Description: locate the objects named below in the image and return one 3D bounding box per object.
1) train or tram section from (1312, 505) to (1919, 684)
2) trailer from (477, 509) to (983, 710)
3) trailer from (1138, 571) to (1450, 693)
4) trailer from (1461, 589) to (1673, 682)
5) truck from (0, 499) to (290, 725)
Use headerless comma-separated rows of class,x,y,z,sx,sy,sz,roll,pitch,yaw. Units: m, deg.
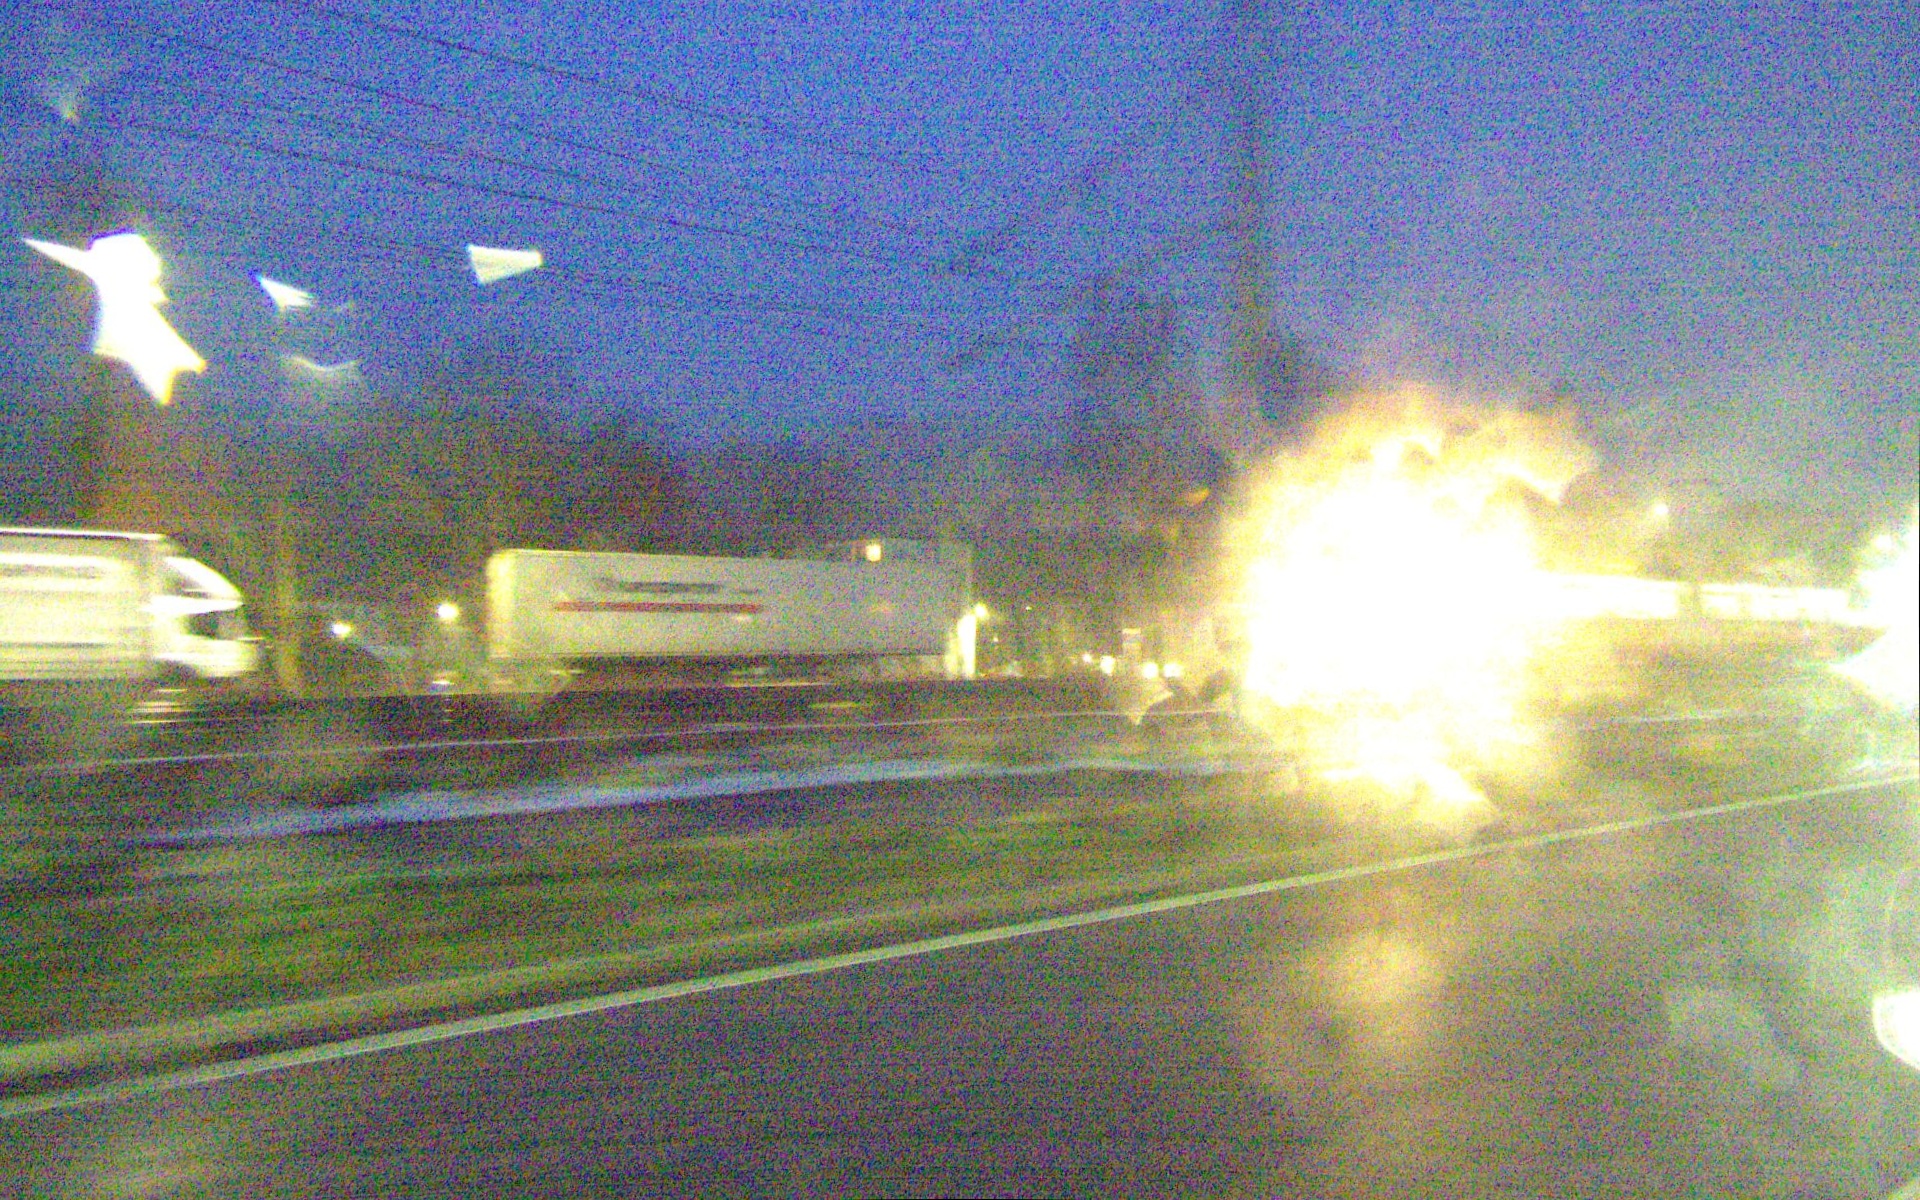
train or tram section,24.897,0.388,32.310,36.717,3.865,2.683,2,0,-31
trailer,-6.571,0.424,30.971,14.666,5.079,3.950,2,0,-31
trailer,14.990,1.410,44.009,15.338,4.671,3.950,2,0,-31
trailer,33.956,1.977,55.859,14.085,4.671,3.950,2,0,-31
truck,-20.970,0.214,22.054,10.097,4.671,3.421,2,0,-31
